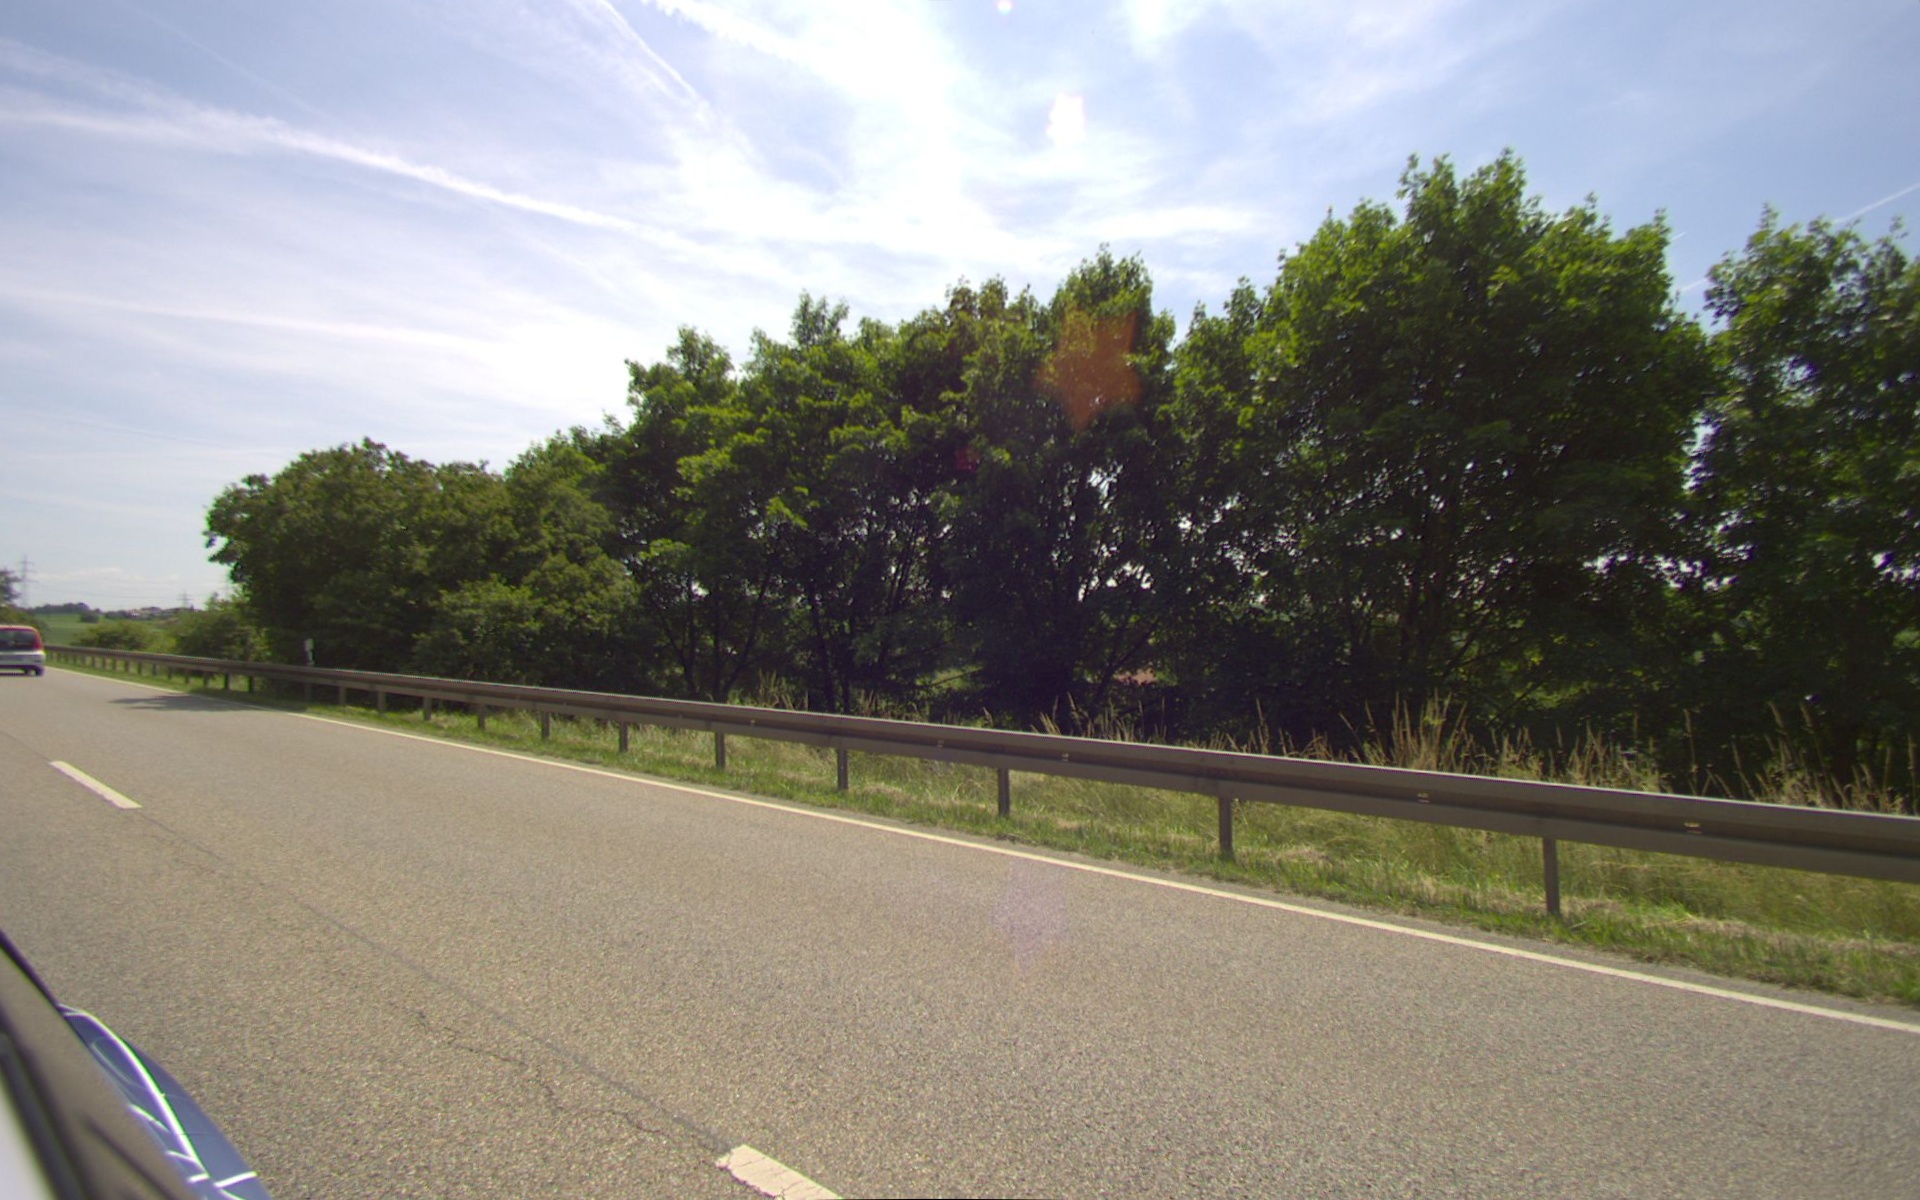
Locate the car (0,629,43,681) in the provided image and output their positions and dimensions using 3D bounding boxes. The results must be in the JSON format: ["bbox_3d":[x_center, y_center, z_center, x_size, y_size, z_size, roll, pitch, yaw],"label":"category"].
[{"bbox_3d":[-28.604,1.592,30.050,3.547,1.474,1.541,-1,-5,41],"label":"car"}]
